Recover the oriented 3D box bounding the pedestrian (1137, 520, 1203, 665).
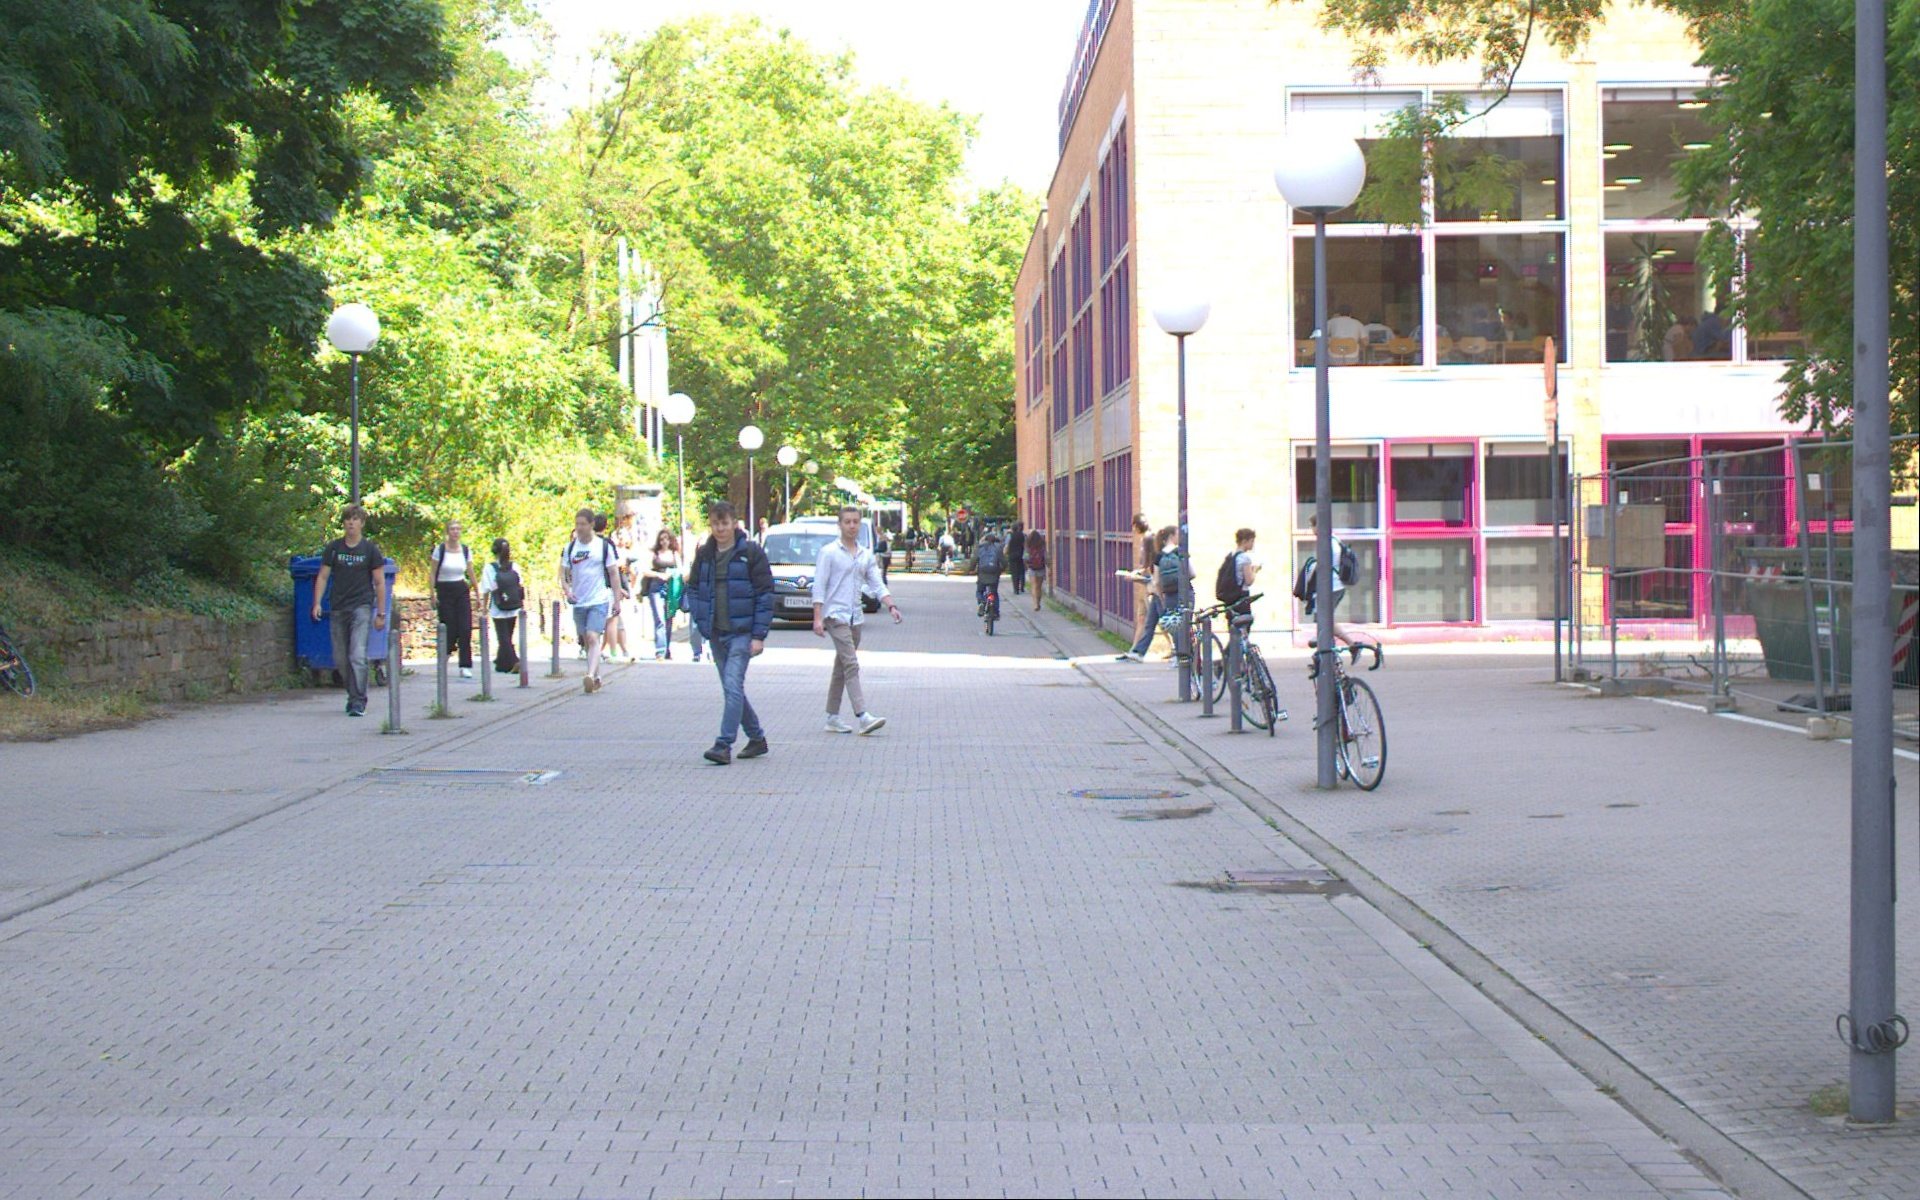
[{"bbox_3d":[2.475,-0.087,40.414,0.697,1.667,0.588,-2,0,7],"label":"pedestrian"}]

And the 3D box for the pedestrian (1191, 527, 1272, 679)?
[{"bbox_3d":[2.957,0.027,37.423,0.852,1.645,0.588,0,0,7],"label":"pedestrian"}]

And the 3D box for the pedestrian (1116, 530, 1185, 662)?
[{"bbox_3d":[2.363,-0.052,42.647,0.780,1.615,0.685,0,0,-3],"label":"pedestrian"}]

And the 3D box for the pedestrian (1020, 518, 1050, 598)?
[{"bbox_3d":[1.579,-0.879,72.166,0.586,1.667,0.699,-2,0,1],"label":"pedestrian"}]

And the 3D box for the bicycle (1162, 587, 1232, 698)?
[{"bbox_3d":[2.210,0.381,32.204,0.450,0.958,1.740,-3,1,-1],"label":"bicycle"}]

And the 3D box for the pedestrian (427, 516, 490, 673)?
[{"bbox_3d":[-5.613,-0.069,38.494,0.682,1.722,1.002,0,1,-8],"label":"pedestrian"}]

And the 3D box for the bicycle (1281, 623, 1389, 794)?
[{"bbox_3d":[2.268,0.637,20.892,0.395,0.932,1.732,-3,1,-1],"label":"bicycle"}]

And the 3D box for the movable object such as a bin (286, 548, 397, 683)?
[{"bbox_3d":[-6.355,0.143,35.365,0.709,1.332,1.239,2,1,9],"label":"movable object such as a bin"}]

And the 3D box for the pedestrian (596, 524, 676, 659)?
[{"bbox_3d":[-4.029,-0.110,42.761,0.886,1.667,0.559,0,0,7],"label":"pedestrian"}]

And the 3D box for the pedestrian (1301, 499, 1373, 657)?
[{"bbox_3d":[4.352,-0.252,39.687,0.767,1.788,0.588,-2,0,7],"label":"pedestrian"}]

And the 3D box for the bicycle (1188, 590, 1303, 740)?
[{"bbox_3d":[2.205,0.485,26.698,0.708,1.089,1.749,0,1,-1],"label":"bicycle"}]

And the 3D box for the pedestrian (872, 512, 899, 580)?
[{"bbox_3d":[-1.854,-1.335,85.587,0.586,1.667,0.817,-2,0,1],"label":"pedestrian"}]

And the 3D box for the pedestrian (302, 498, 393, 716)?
[{"bbox_3d":[-5.326,0.055,29.942,0.682,1.866,1.121,0,0,-5],"label":"pedestrian"}]

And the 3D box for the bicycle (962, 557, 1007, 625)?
[{"bbox_3d":[0.401,-0.160,56.861,0.587,1.080,1.908,0,1,-4],"label":"bicycle"}]

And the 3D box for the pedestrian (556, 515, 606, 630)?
[{"bbox_3d":[-5.374,-0.396,48.771,0.682,1.615,0.979,0,0,-5],"label":"pedestrian"}]

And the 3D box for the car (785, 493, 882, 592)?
[{"bbox_3d":[-2.592,-1.213,71.465,1.883,1.967,5.215,0,1,-1],"label":"car"}]

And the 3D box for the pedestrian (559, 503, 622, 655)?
[{"bbox_3d":[-4.496,-0.257,41.822,0.682,1.838,0.783,0,0,0],"label":"pedestrian"}]

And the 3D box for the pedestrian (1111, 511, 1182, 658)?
[{"bbox_3d":[2.346,-0.195,43.365,0.825,1.838,0.685,0,0,-3],"label":"pedestrian"}]

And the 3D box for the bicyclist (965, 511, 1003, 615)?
[{"bbox_3d":[0.396,-0.615,56.868,0.587,1.710,0.665,0,1,-4],"label":"bicyclist"}]

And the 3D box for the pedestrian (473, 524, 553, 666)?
[{"bbox_3d":[-5.144,-0.063,39.529,0.569,1.605,0.918,0,0,-34],"label":"pedestrian"}]

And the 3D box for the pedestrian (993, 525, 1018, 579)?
[{"bbox_3d":[1.447,-1.515,108.791,0.725,1.667,0.748,-2,0,1],"label":"pedestrian"}]

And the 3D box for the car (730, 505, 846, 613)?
[{"bbox_3d":[-2.929,-0.735,59.179,1.790,1.755,4.482,-1,1,-1],"label":"car"}]

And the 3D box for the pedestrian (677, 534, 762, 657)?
[{"bbox_3d":[-3.047,-0.061,43.572,0.886,1.537,0.742,1,0,12],"label":"pedestrian"}]

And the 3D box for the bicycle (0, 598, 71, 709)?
[{"bbox_3d":[-7.936,0.437,28.250,0.421,0.907,1.739,0,0,15],"label":"bicycle"}]

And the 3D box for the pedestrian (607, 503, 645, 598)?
[{"bbox_3d":[-6.543,-0.966,67.381,0.682,1.838,0.783,0,0,0],"label":"pedestrian"}]

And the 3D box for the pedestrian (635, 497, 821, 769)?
[{"bbox_3d":[-1.623,0.213,24.138,0.887,1.851,1.031,1,1,27],"label":"pedestrian"}]

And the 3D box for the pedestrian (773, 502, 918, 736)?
[{"bbox_3d":[-0.931,0.135,27.705,0.783,1.839,1.118,0,1,-25],"label":"pedestrian"}]

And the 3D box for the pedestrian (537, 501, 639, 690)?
[{"bbox_3d":[-3.760,-0.050,34.818,0.724,1.875,1.082,0,0,12],"label":"pedestrian"}]

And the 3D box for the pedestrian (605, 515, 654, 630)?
[{"bbox_3d":[-4.687,-0.388,48.853,0.682,1.615,0.914,0,0,-5],"label":"pedestrian"}]

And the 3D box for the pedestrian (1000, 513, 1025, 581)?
[{"bbox_3d":[1.321,-1.327,86.202,0.586,1.667,0.817,-2,0,1],"label":"pedestrian"}]
